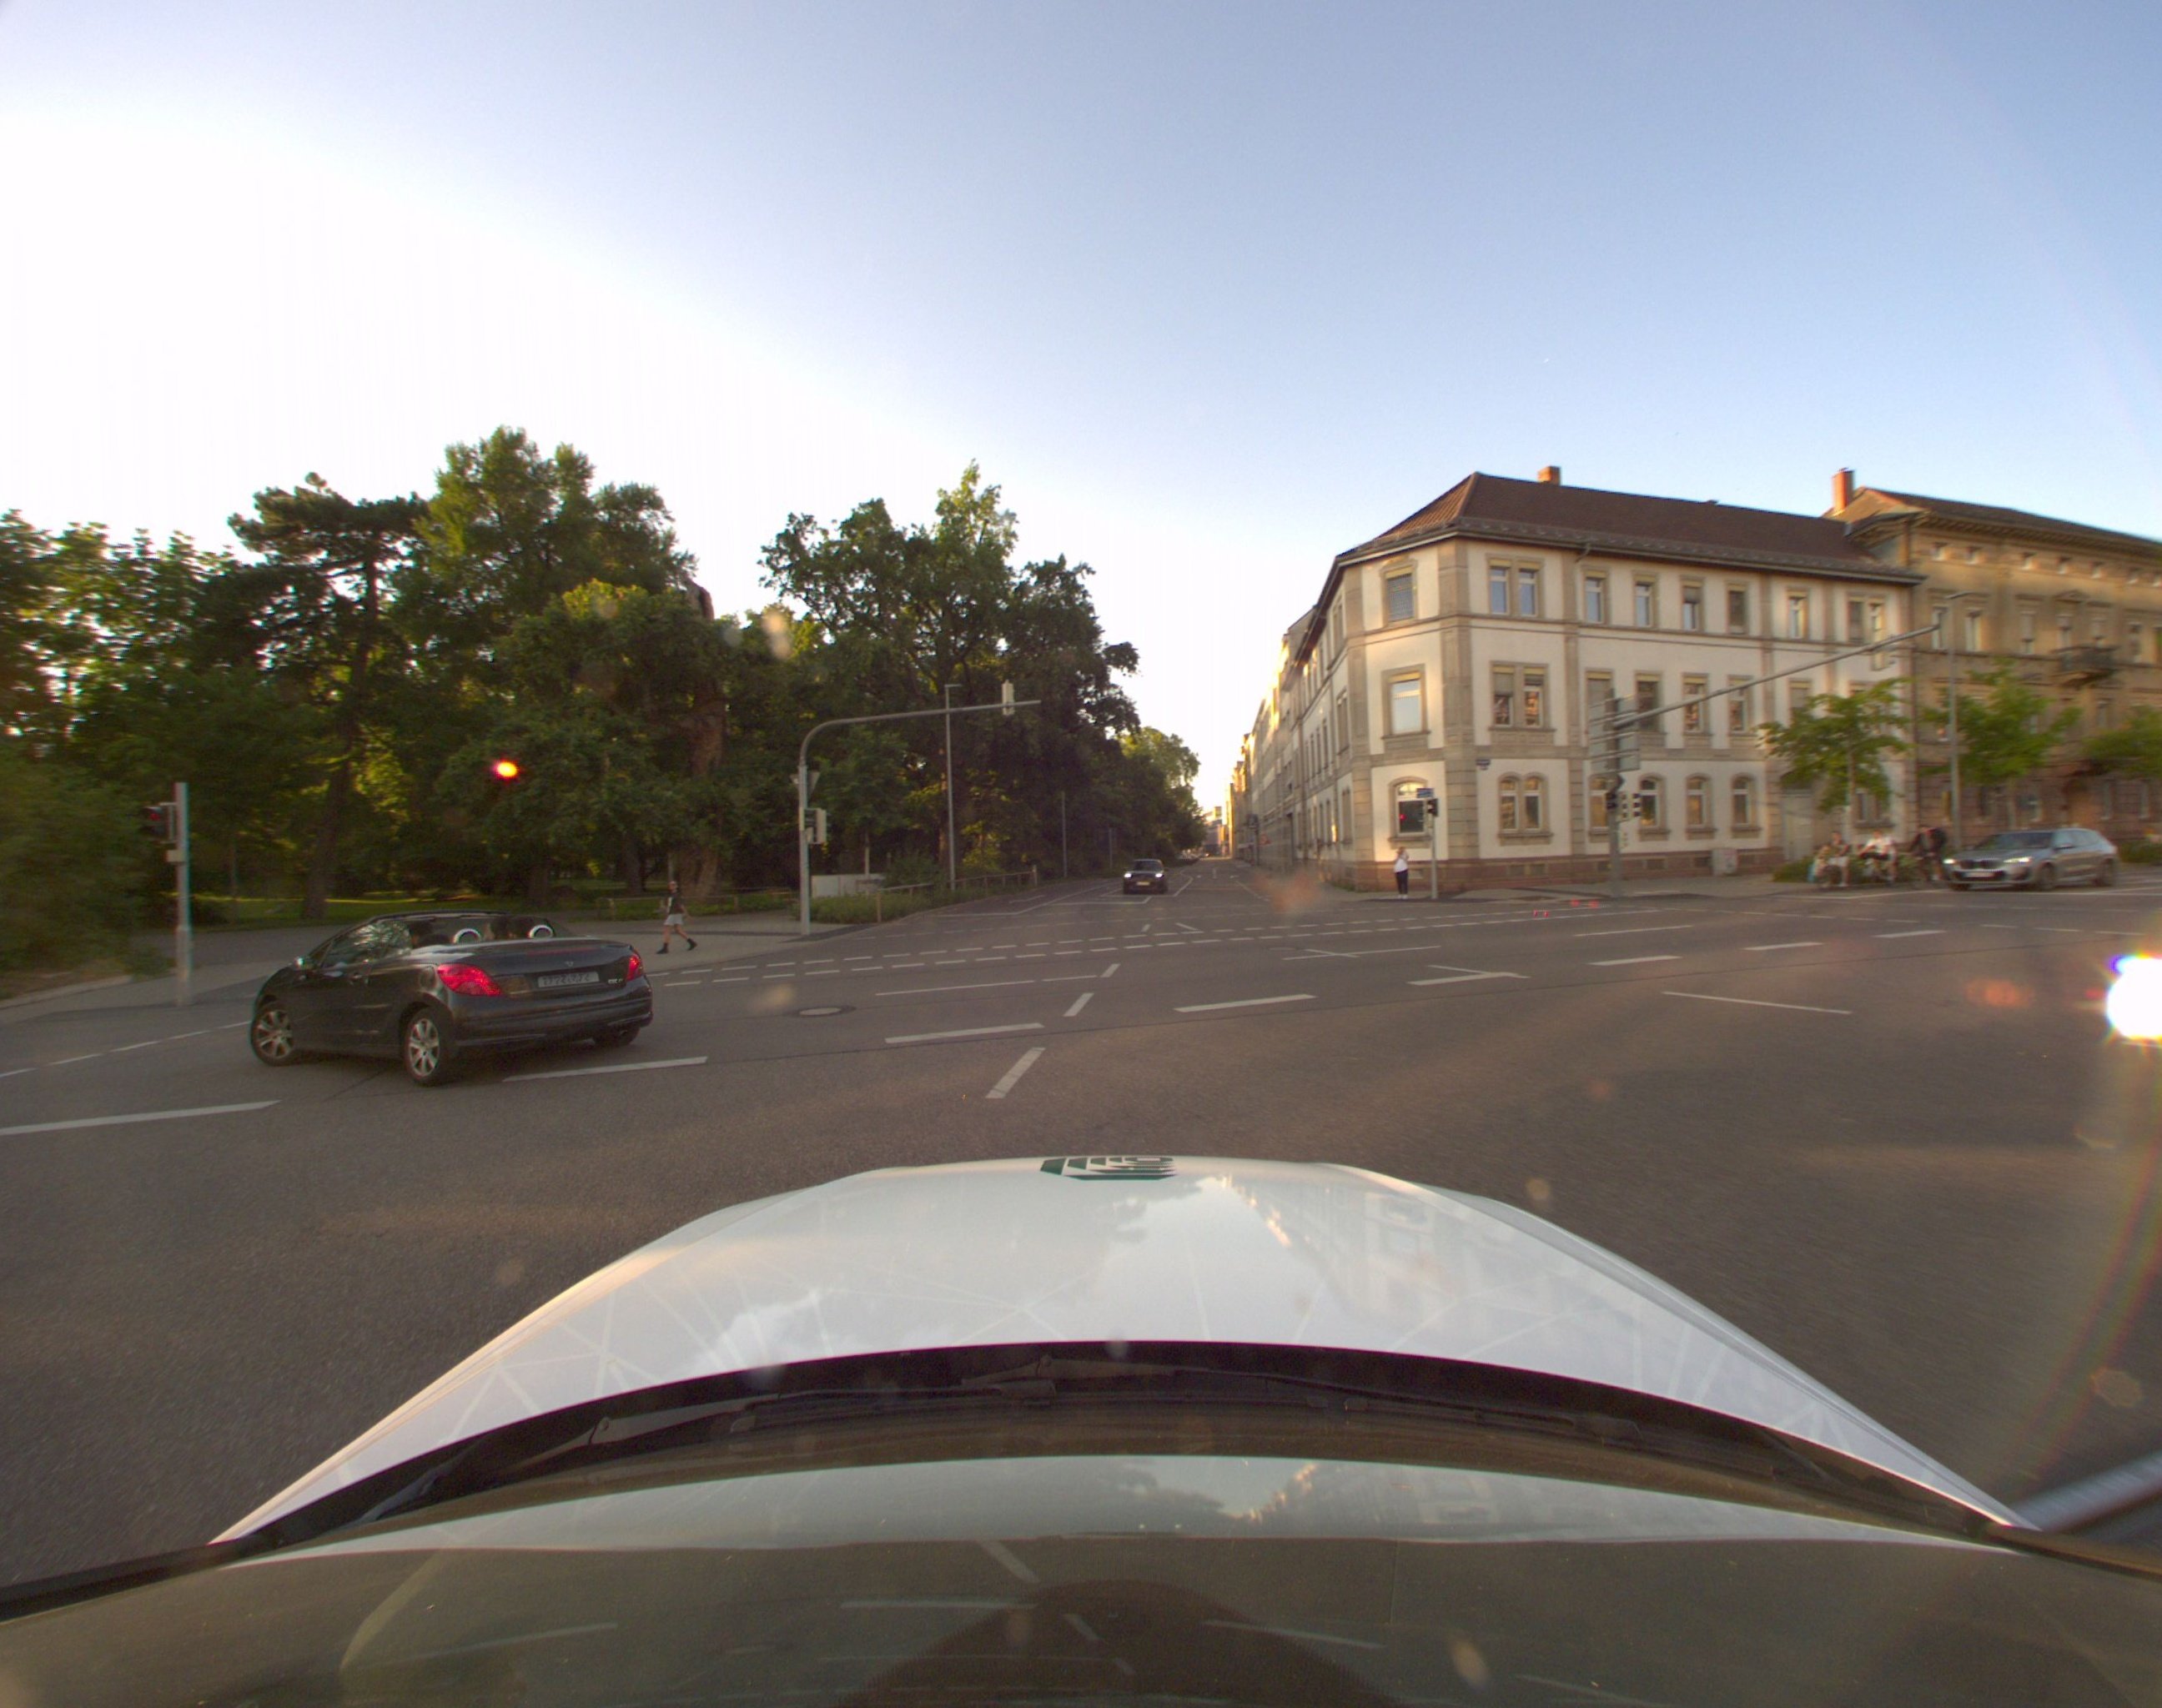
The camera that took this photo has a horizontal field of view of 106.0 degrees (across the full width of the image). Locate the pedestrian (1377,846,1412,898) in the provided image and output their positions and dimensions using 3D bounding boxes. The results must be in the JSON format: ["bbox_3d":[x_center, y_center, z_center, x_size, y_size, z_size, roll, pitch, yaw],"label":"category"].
[{"bbox_3d":[10.207,0.576,26.529,0.639,1.656,0.809,-2,0,-36],"label":"pedestrian"}]

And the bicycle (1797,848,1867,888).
[{"bbox_3d":[22.614,0.403,24.511,2.044,1.051,0.526,-3,3,-14],"label":"bicycle"}]

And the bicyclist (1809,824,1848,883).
[{"bbox_3d":[22.434,-0.017,24.449,0.766,1.700,0.508,-4,3,-14],"label":"bicyclist"}]

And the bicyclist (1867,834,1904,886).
[{"bbox_3d":[24.646,0.166,24.940,0.691,1.548,0.510,-2,1,-14],"label":"bicyclist"}]

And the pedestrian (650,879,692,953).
[{"bbox_3d":[-8.629,1.289,17.166,0.617,1.504,0.578,-2,0,-11],"label":"pedestrian"}]

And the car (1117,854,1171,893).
[{"bbox_3d":[2.770,0.810,35.165,1.812,1.517,3.587,-2,0,11],"label":"car"}]

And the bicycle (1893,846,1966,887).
[{"bbox_3d":[24.718,0.361,23.718,2.046,1.051,0.716,-2,-3,-23],"label":"bicycle"}]

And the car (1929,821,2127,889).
[{"bbox_3d":[25.402,0.029,21.881,4.255,1.597,1.825,-2,-1,-16],"label":"car"}]

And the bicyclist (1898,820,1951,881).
[{"bbox_3d":[24.491,-0.102,23.651,0.769,1.701,0.700,-3,-3,-23],"label":"bicyclist"}]

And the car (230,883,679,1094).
[{"bbox_3d":[-5.848,1.082,7.576,3.852,1.449,1.735,-2,0,26],"label":"car"}]

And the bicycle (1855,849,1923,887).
[{"bbox_3d":[24.802,0.418,24.990,2.040,1.051,0.515,-2,1,-15],"label":"bicycle"}]
